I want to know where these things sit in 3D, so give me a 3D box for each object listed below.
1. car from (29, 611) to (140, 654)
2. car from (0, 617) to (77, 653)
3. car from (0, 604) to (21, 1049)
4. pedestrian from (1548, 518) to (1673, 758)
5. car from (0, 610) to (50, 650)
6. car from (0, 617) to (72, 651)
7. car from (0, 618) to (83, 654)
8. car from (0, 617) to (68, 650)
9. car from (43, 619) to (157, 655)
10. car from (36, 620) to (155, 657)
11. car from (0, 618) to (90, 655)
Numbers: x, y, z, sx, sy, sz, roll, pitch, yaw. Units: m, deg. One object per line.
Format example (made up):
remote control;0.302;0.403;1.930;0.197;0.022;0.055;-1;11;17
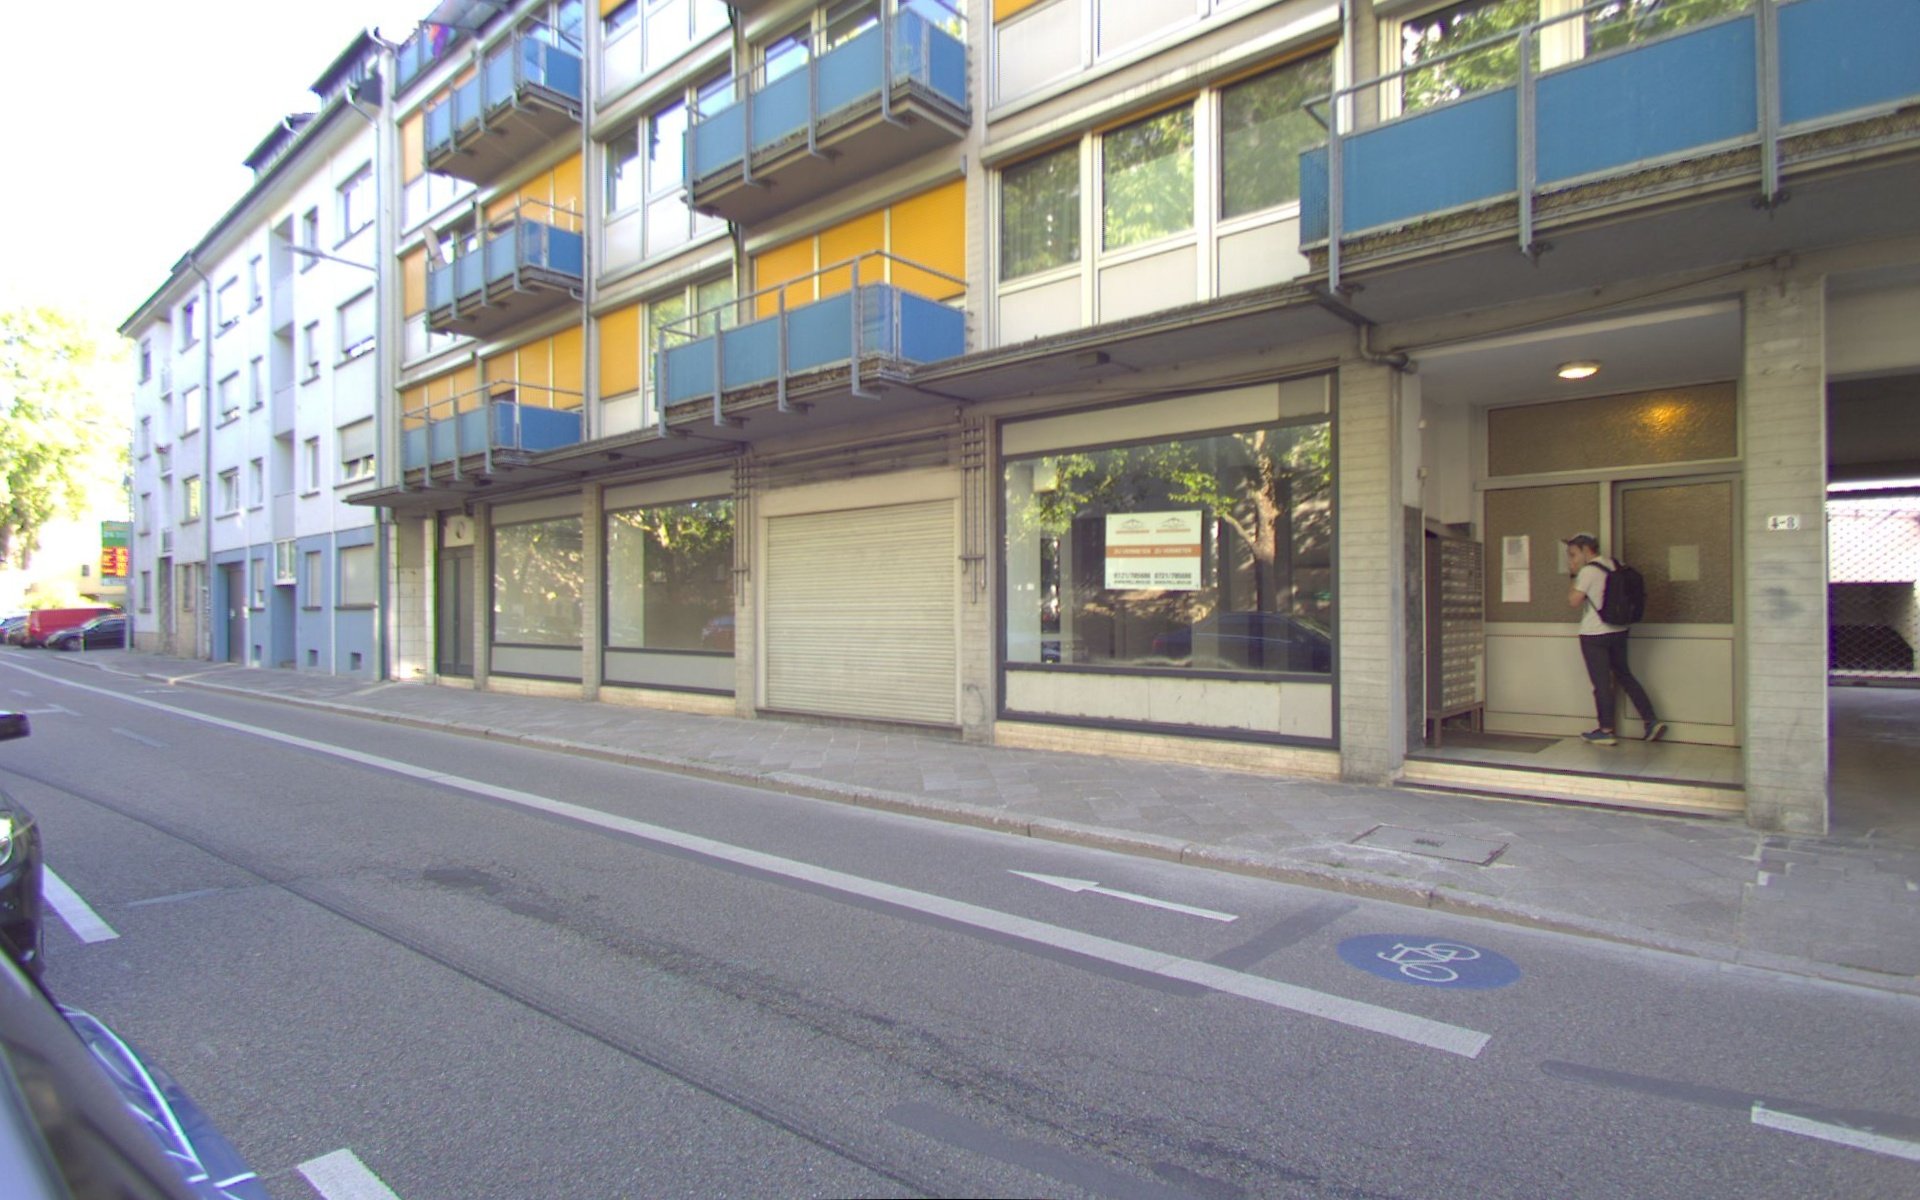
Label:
car;-43.426;1.580;50.243;2.000;1.962;3.944;-1;0;42
car;-55.597;2.069;60.557;2.000;1.962;3.944;-1;0;42
car;-5.519;0.811;4.270;4.479;1.512;1.842;-1;-1;41
pedestrian;5.406;0.304;8.450;0.782;1.894;0.576;-1;0;26
car;-62.794;1.963;66.777;2.000;2.538;3.944;-1;0;42
car;-57.402;2.093;62.274;2.000;1.962;3.944;-1;0;42
car;-53.516;2.042;58.604;2.000;1.962;3.944;-1;0;42
car;-59.202;2.116;64.008;2.000;1.962;3.944;-1;0;42
car;-41.171;1.750;48.518;2.000;1.564;3.944;-1;0;42
car;-39.752;1.732;46.597;2.000;1.564;3.944;-1;0;42
car;-51.565;2.017;56.821;2.000;1.962;3.944;-1;0;42
